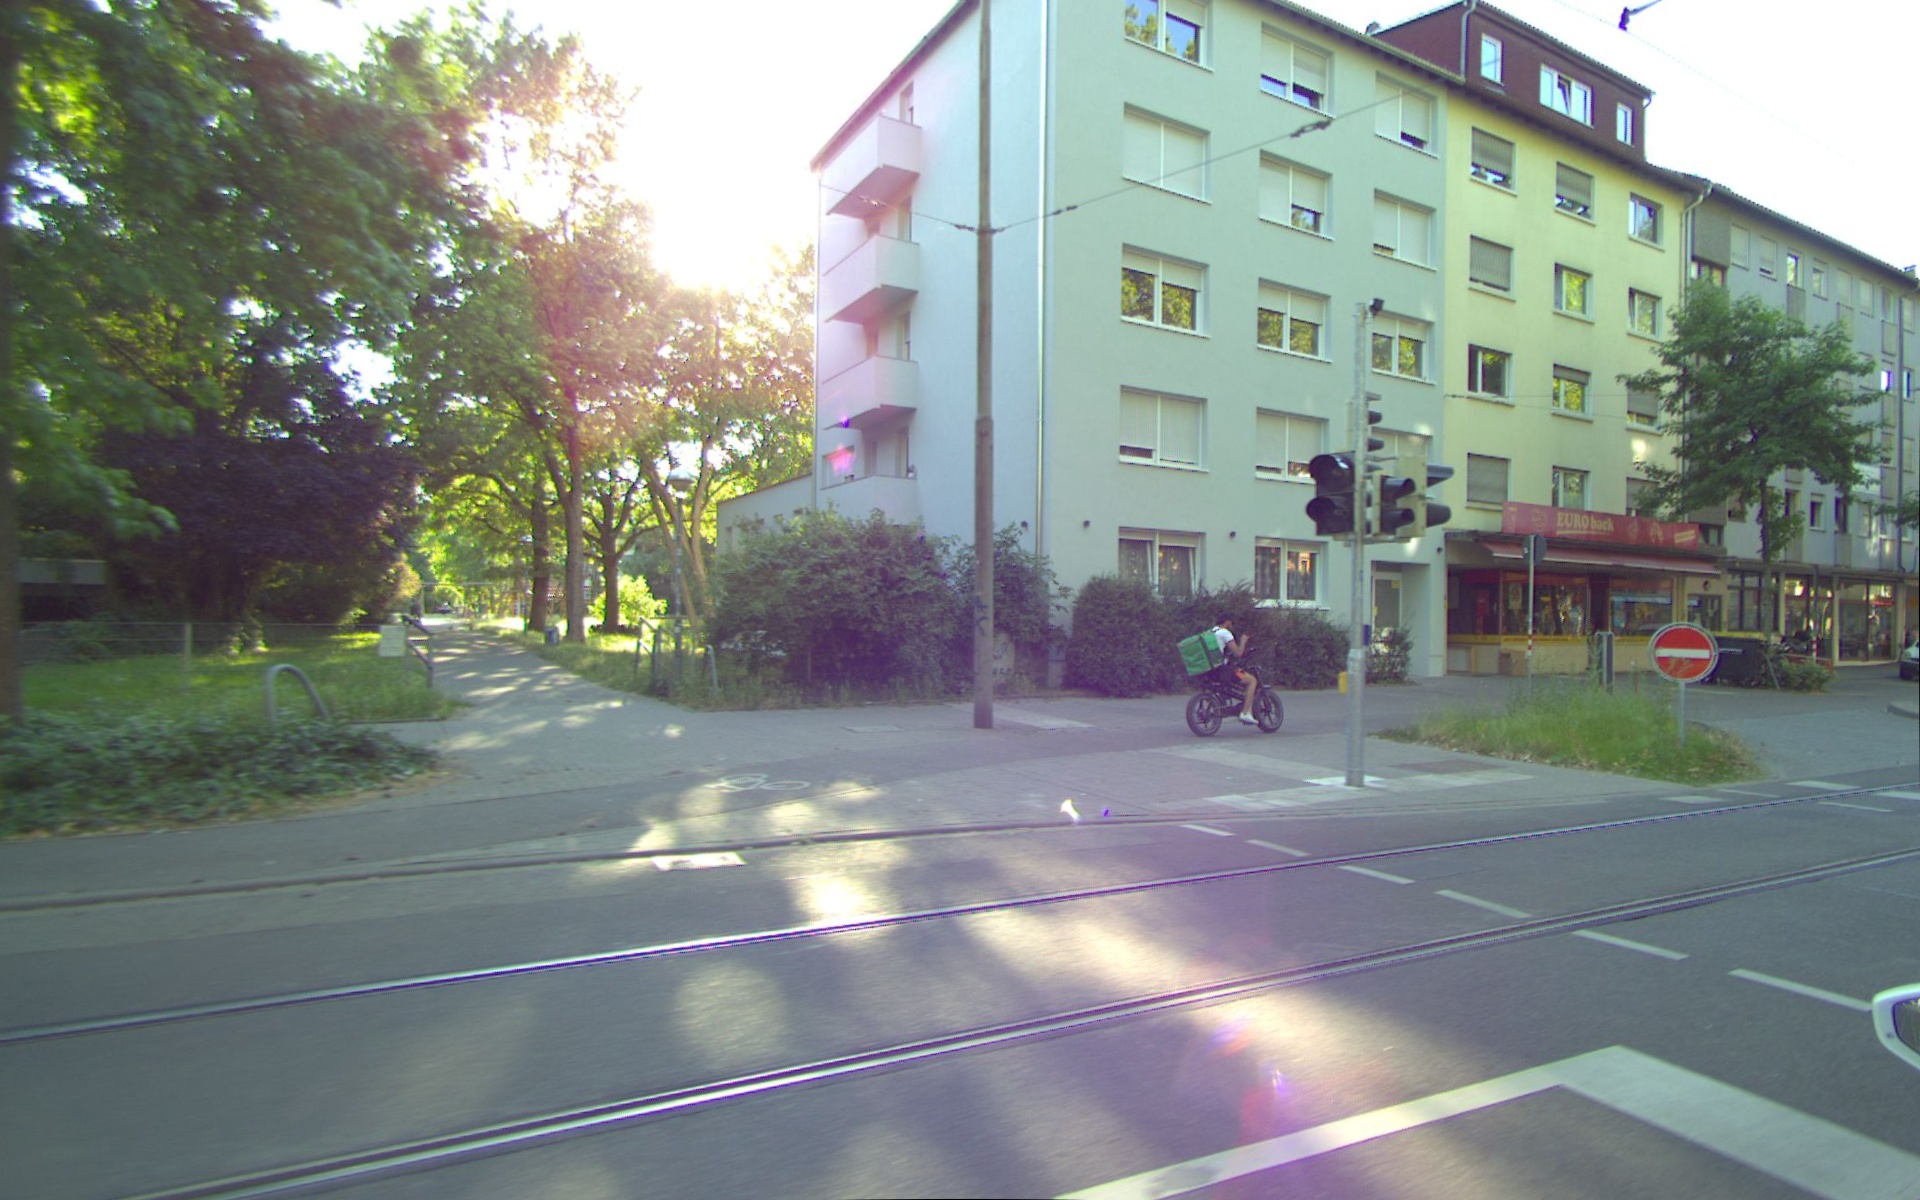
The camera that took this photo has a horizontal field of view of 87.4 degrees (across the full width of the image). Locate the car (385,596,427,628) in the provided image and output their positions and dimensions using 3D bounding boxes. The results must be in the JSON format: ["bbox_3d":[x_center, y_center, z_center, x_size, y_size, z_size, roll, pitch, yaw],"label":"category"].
[{"bbox_3d":[-28.217,0.614,51.212,1.778,1.530,3.970,1,-1,-29],"label":"car"}]

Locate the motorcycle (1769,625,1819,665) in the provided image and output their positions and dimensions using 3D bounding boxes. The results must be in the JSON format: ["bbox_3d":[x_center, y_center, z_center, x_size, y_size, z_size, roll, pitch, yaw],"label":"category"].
[{"bbox_3d":[28.370,1.521,34.160,2.195,1.328,0.596,1,-1,-30],"label":"motorcycle"}]

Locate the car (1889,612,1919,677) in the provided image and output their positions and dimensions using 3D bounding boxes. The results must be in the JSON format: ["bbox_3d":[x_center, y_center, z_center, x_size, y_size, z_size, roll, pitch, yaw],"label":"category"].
[{"bbox_3d":[31.036,1.393,31.515,3.952,1.966,1.680,1,-1,-30],"label":"car"}]

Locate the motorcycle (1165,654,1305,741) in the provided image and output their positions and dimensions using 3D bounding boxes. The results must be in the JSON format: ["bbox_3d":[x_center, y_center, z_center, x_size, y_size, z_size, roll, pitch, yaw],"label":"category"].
[{"bbox_3d":[3.633,1.254,13.233,1.852,1.046,0.593,1,0,-26],"label":"motorcycle"}]

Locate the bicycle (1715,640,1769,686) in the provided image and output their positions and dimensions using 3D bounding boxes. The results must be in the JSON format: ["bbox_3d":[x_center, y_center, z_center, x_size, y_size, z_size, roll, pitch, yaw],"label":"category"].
[{"bbox_3d":[20.505,1.634,26.335,1.780,1.122,0.495,1,3,-33],"label":"bicycle"}]

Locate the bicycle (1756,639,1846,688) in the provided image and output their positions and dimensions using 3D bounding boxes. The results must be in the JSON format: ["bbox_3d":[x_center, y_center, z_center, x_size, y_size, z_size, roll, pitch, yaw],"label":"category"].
[{"bbox_3d":[21.566,1.616,25.767,0.875,1.089,1.526,1,2,-30],"label":"bicycle"}]

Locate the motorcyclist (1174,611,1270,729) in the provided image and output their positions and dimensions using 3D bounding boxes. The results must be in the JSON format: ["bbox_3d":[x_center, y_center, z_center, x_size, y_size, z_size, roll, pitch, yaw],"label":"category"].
[{"bbox_3d":[3.426,0.895,13.135,1.089,1.469,0.593,1,0,-26],"label":"motorcyclist"}]

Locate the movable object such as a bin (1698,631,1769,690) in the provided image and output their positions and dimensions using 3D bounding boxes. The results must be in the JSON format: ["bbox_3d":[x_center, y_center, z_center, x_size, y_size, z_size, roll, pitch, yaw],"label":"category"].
[{"bbox_3d":[19.483,1.505,25.320,0.775,1.366,1.163,1,3,-33],"label":"movable object such as a bin"}]

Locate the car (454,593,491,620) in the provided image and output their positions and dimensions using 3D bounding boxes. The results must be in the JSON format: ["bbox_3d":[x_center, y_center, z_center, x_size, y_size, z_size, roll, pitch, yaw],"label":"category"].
[{"bbox_3d":[-28.865,0.403,59.415,1.778,1.530,3.970,1,-1,-29],"label":"car"}]
